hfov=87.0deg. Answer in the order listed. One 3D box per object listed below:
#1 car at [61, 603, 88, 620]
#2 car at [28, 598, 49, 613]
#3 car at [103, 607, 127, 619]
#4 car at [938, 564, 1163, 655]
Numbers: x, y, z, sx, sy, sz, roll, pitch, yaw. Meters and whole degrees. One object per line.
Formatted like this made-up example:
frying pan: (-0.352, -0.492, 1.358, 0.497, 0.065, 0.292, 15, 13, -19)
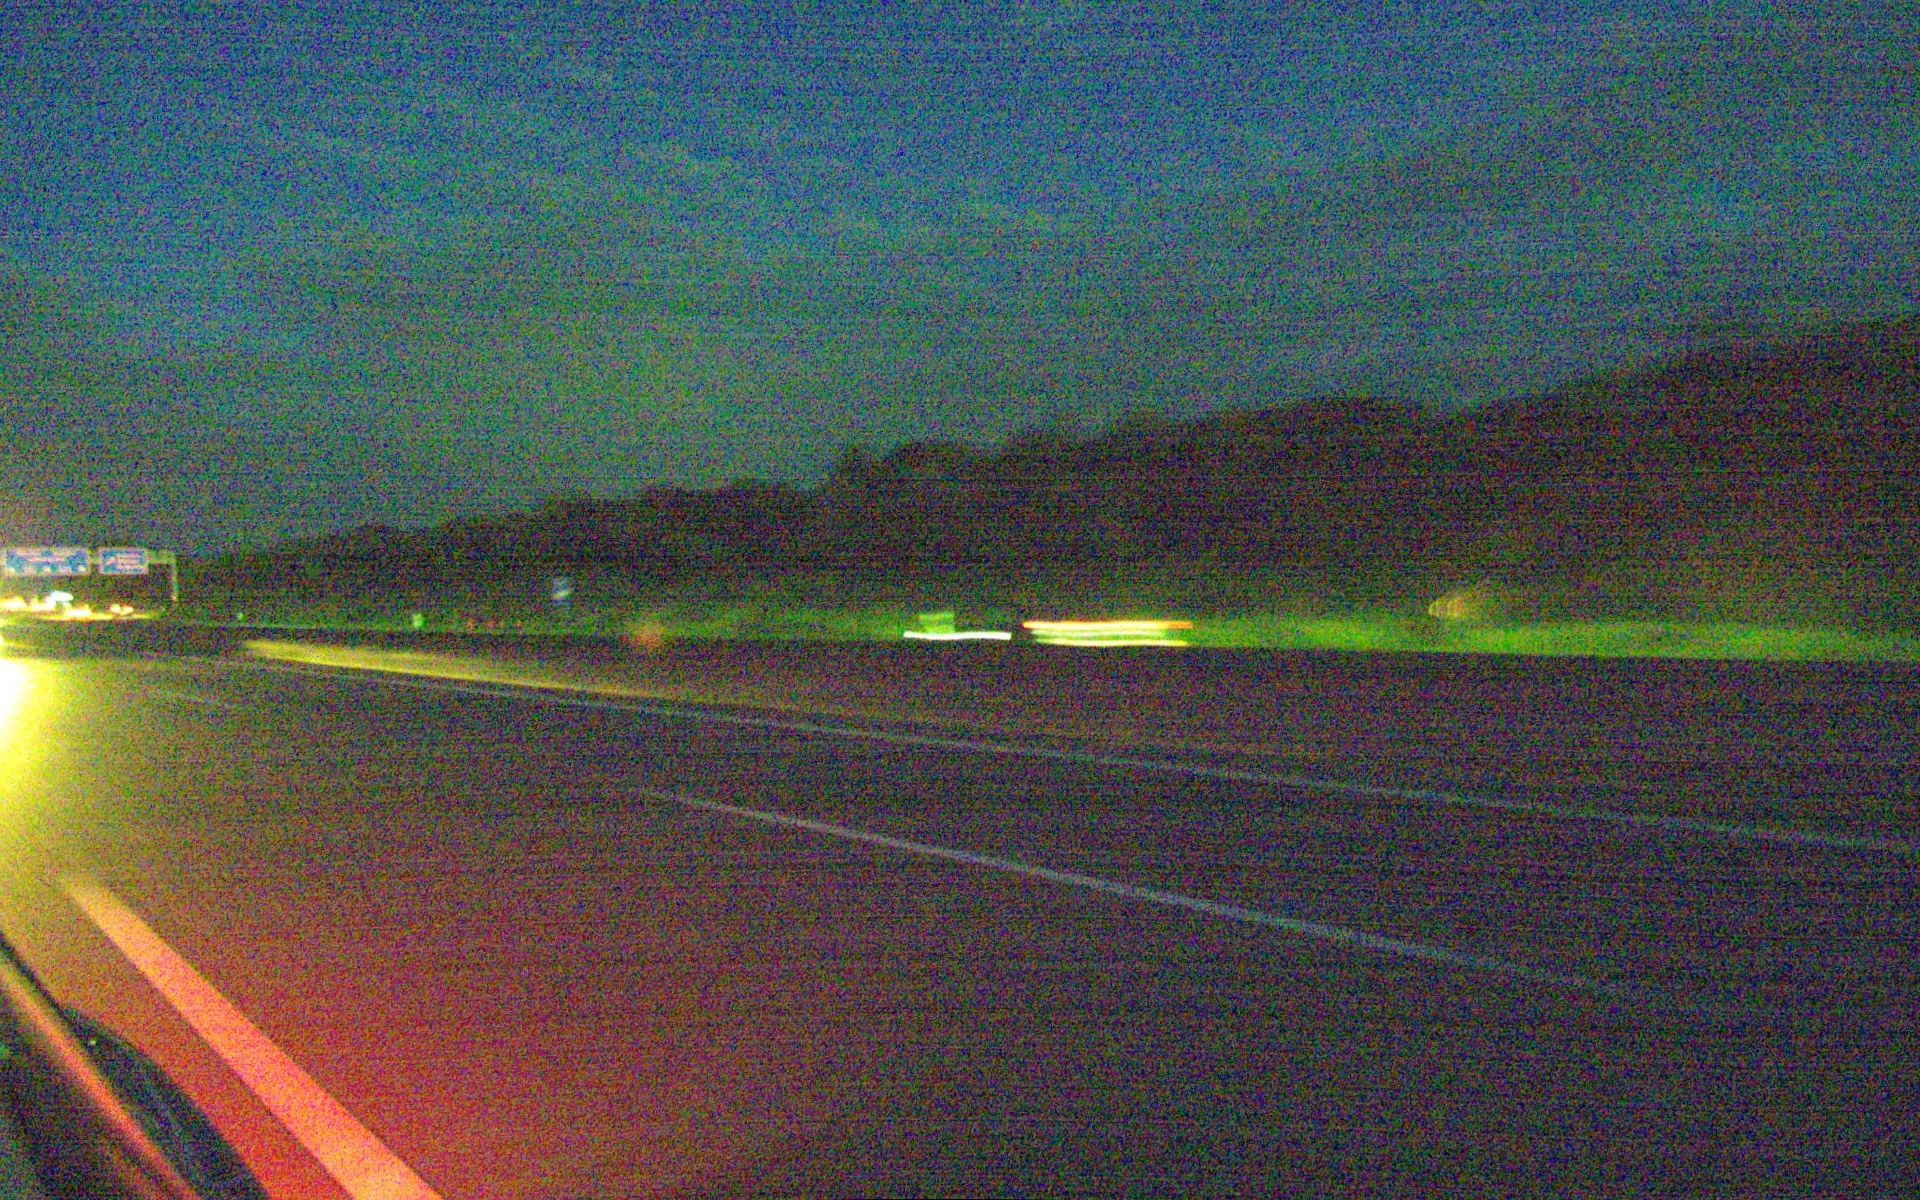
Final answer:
car: (-107.284, 1.388, 122.582, 4.660, 1.899, 2.081, 0, 0, 43)
car: (-182.034, 1.066, 199.909, 8.334, 2.958, 2.431, 0, 0, 43)
car: (-103.665, 1.616, 124.176, 4.660, 1.440, 1.755, 0, 0, 43)
car: (1.916, 0.186, 22.378, 4.657, 1.803, 2.082, 0, 0, 42)
